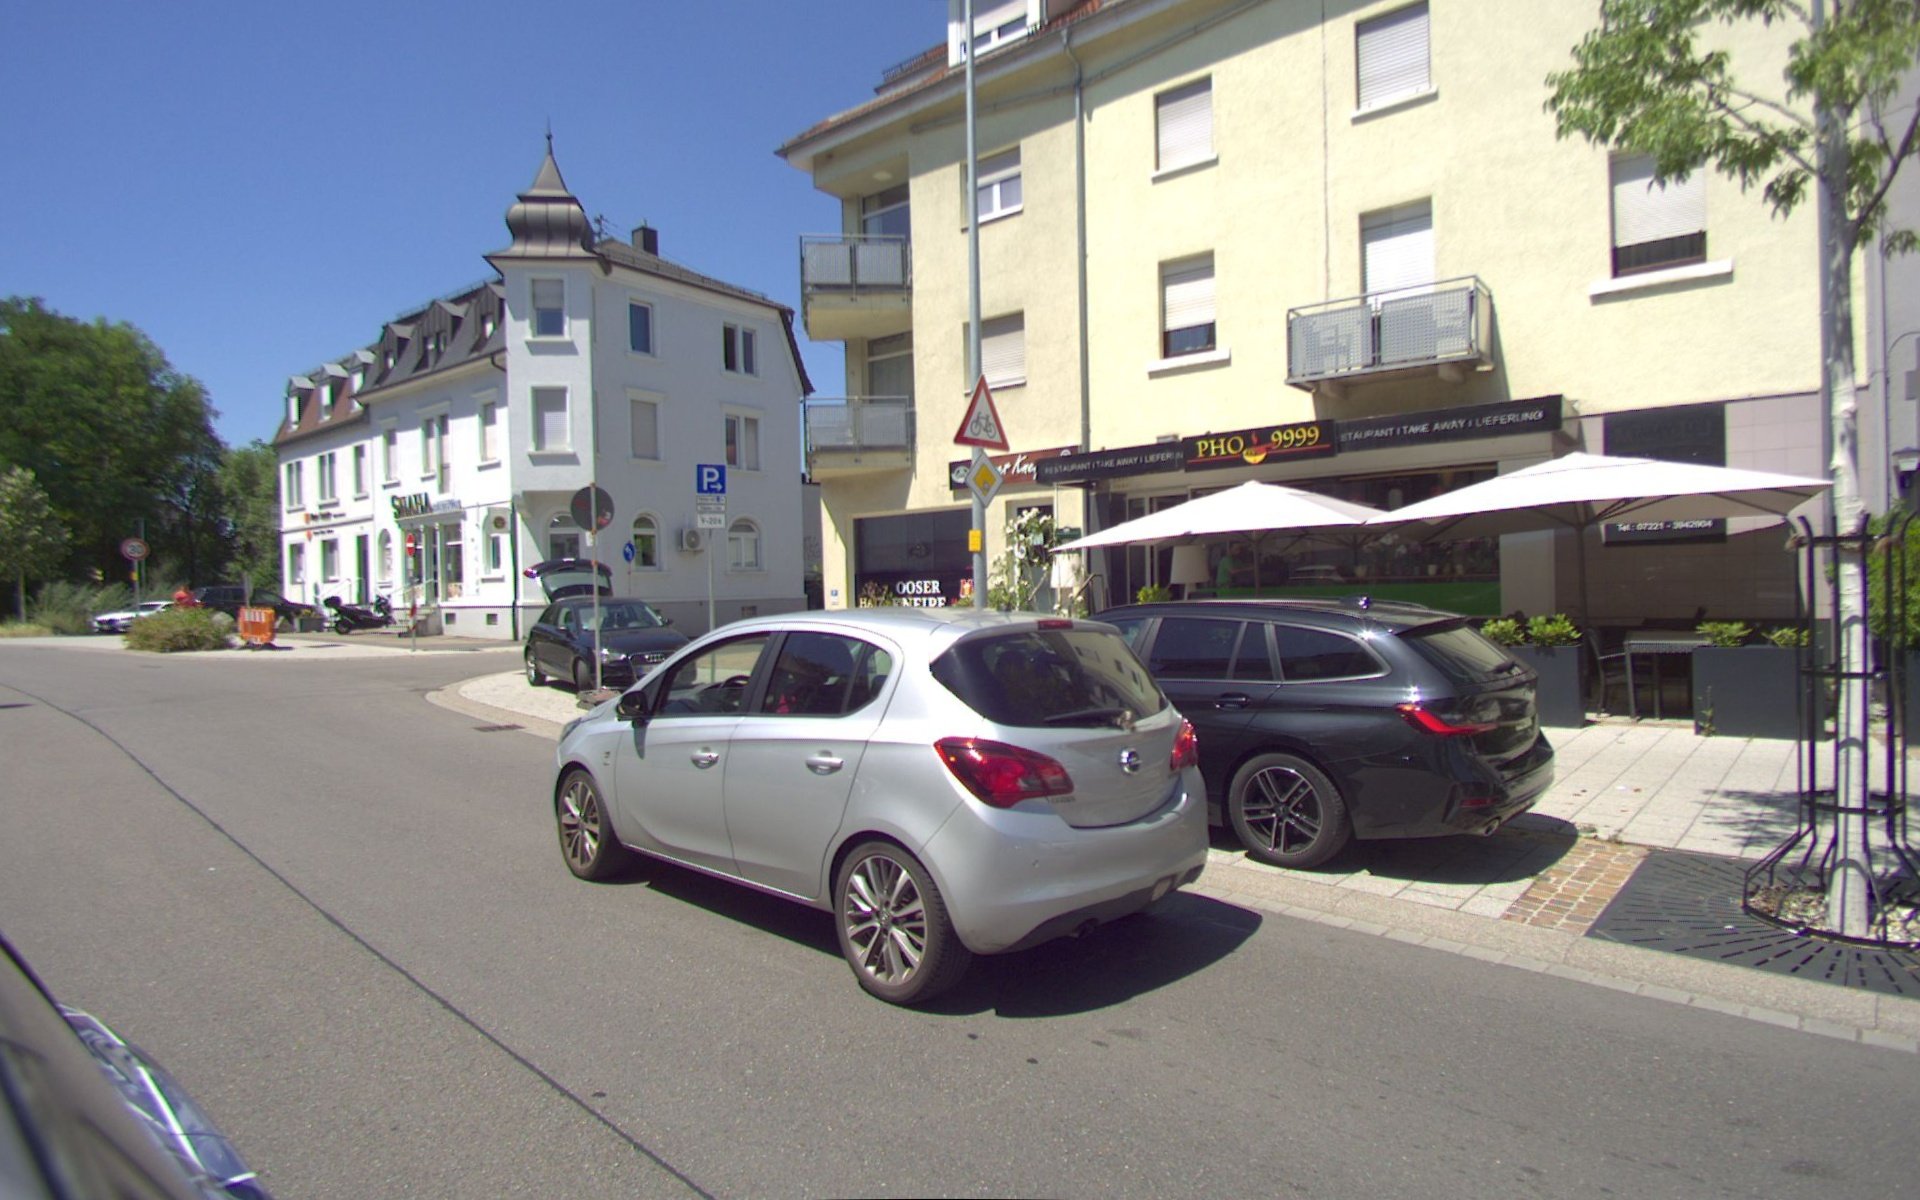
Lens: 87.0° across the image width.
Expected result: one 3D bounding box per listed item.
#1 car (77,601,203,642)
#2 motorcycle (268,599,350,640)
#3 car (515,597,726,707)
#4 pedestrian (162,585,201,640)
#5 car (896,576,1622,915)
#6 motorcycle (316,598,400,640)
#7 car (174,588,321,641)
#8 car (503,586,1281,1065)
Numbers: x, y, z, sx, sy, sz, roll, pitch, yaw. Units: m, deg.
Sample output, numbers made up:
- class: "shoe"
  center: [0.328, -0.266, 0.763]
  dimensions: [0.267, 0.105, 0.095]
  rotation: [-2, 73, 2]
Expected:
- class: "car"
  center: [-33.650, 0.846, 41.681]
  dimensions: [1.813, 1.548, 3.934]
  rotation: [-1, 0, 5]
- class: "motorcycle"
  center: [-22.578, 0.659, 35.145]
  dimensions: [0.725, 1.335, 2.292]
  rotation: [-1, 0, 41]
- class: "car"
  center: [-5.431, 0.721, 15.923]
  dimensions: [1.873, 1.452, 3.782]
  rotation: [-2, 1, -40]
- class: "pedestrian"
  center: [-25.206, 0.400, 32.766]
  dimensions: [0.800, 1.779, 0.751]
  rotation: [-1, 0, 29]
- class: "car"
  center: [1.664, 0.678, 6.743]
  dimensions: [4.342, 1.495, 1.662]
  rotation: [-1, 2, 45]
- class: "motorcycle"
  center: [-20.020, 0.626, 33.697]
  dimensions: [0.725, 1.335, 2.292]
  rotation: [-1, 0, 41]
- class: "car"
  center: [-25.300, 0.483, 36.024]
  dimensions: [1.815, 1.752, 4.024]
  rotation: [-1, 0, 44]
- class: "car"
  center: [-0.654, 0.743, 5.193]
  dimensions: [4.086, 1.495, 1.662]
  rotation: [-1, -2, 44]
